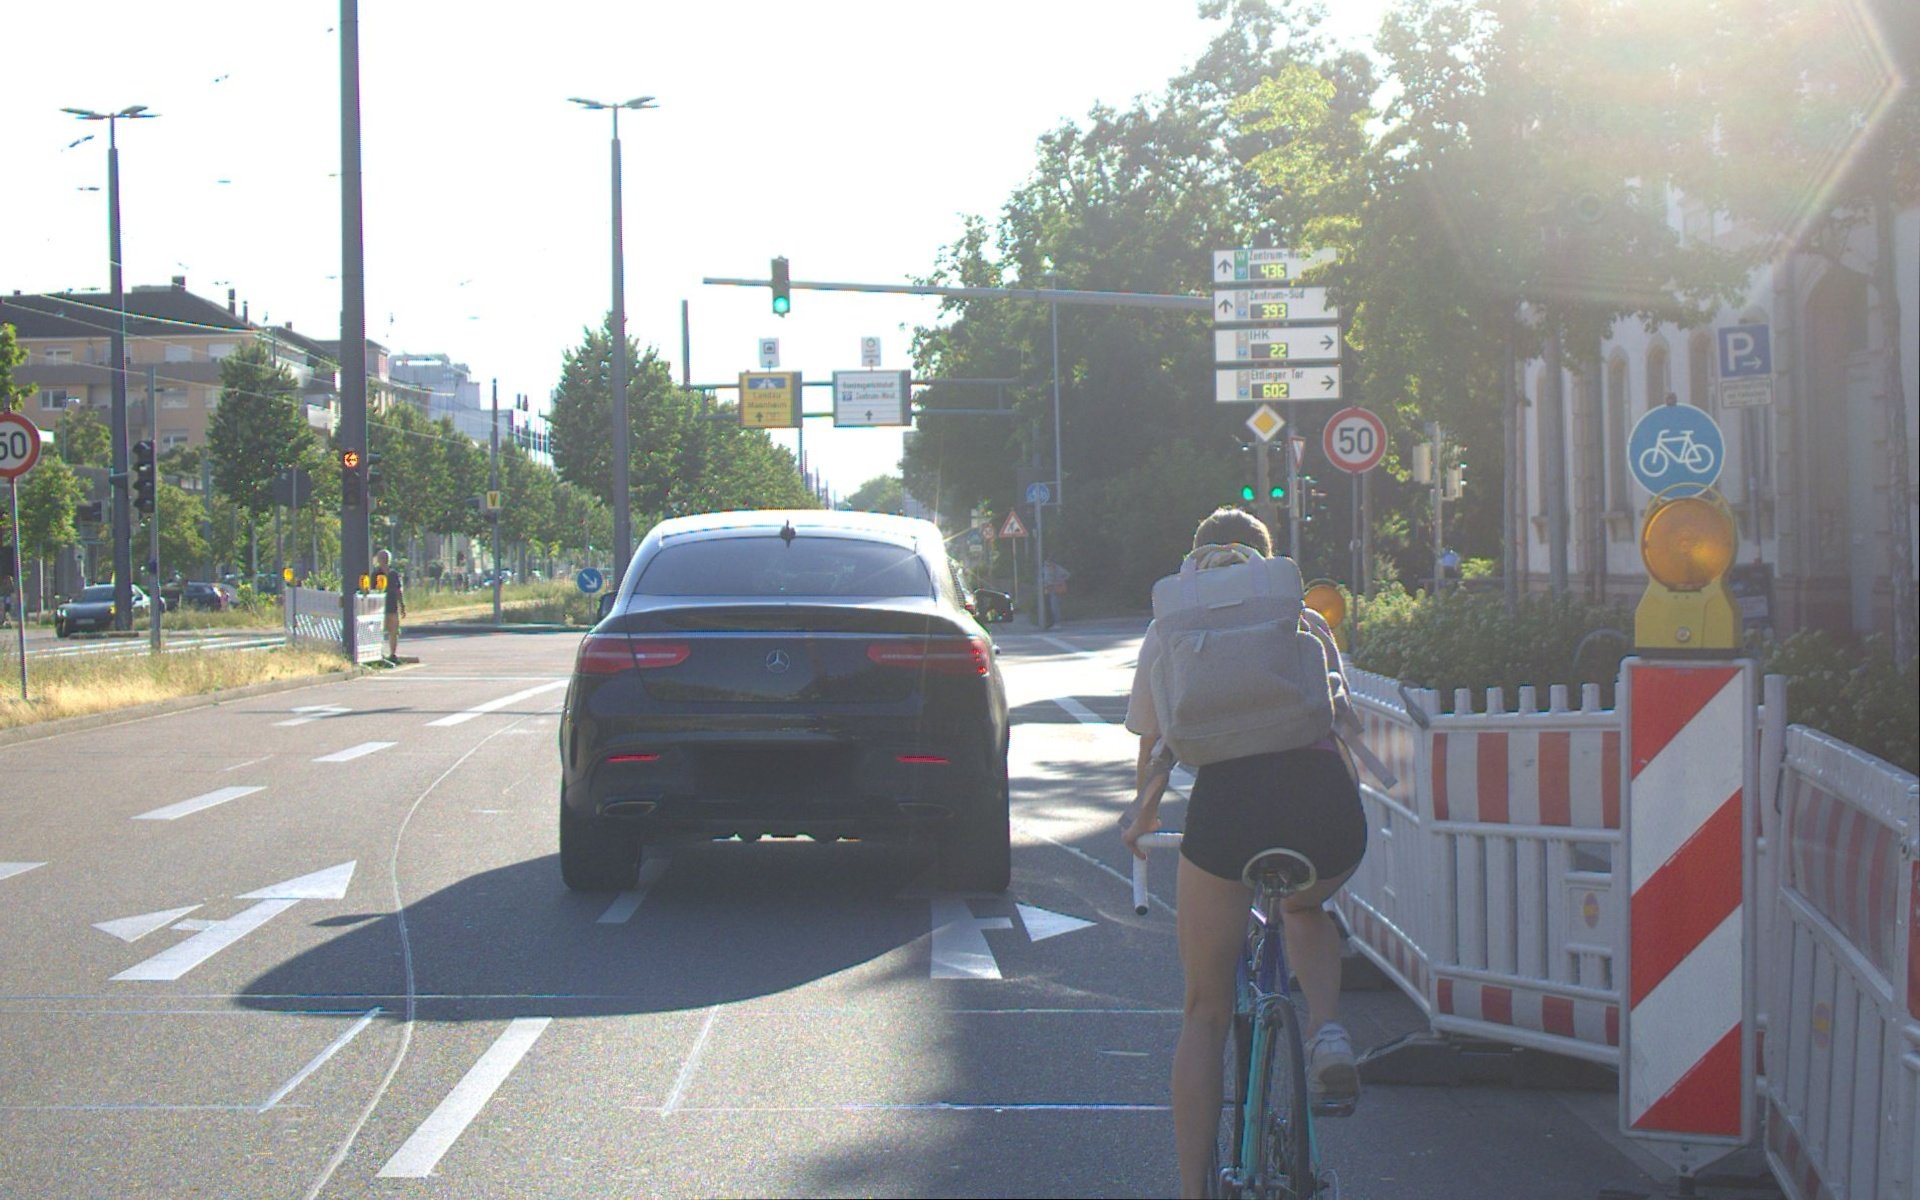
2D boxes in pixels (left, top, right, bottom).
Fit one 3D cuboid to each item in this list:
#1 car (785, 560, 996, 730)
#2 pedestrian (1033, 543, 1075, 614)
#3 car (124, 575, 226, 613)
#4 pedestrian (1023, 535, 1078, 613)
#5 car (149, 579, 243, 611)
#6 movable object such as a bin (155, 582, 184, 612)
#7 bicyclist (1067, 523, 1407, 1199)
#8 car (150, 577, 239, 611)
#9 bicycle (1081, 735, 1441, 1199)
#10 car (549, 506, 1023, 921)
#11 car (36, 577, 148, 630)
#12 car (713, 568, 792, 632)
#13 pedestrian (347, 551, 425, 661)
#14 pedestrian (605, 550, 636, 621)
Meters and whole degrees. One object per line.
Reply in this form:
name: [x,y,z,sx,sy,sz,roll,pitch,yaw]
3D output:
car: [-0.680,0.381,33.222,1.897,1.522,4.059,0,1,-1]
pedestrian: [2.211,-0.510,81.238,0.766,1.631,0.770,-3,1,-10]
car: [-35.079,-0.257,153.682,4.084,1.595,1.749,1,1,-41]
pedestrian: [2.172,-0.616,82.210,0.857,1.796,0.907,-3,1,-35]
car: [-35.497,-0.236,159.812,1.785,1.448,3.990,1,1,41]
movable object such as a bin: [-34.117,-0.113,148.385,0.858,1.276,0.939,-1,0,14]
bicyclist: [0.522,0.598,6.780,0.552,1.486,1.081,-1,1,-1]
car: [-35.006,-0.274,157.330,3.615,1.518,1.620,1,0,-41]
bicycle: [0.552,0.871,6.803,0.520,1.093,1.843,-1,1,-1]
car: [-0.946,0.427,16.430,1.993,1.728,4.001,0,1,-6]
car: [-23.522,0.070,93.322,1.891,1.339,4.851,-1,1,-1]
car: [-5.322,-0.023,88.452,1.885,1.575,4.001,0,1,-2]
pedestrian: [-8.682,0.086,52.056,0.924,1.643,0.765,-1,0,11]
pedestrian: [-8.146,-0.356,82.541,0.598,1.693,0.714,-1,1,5]
